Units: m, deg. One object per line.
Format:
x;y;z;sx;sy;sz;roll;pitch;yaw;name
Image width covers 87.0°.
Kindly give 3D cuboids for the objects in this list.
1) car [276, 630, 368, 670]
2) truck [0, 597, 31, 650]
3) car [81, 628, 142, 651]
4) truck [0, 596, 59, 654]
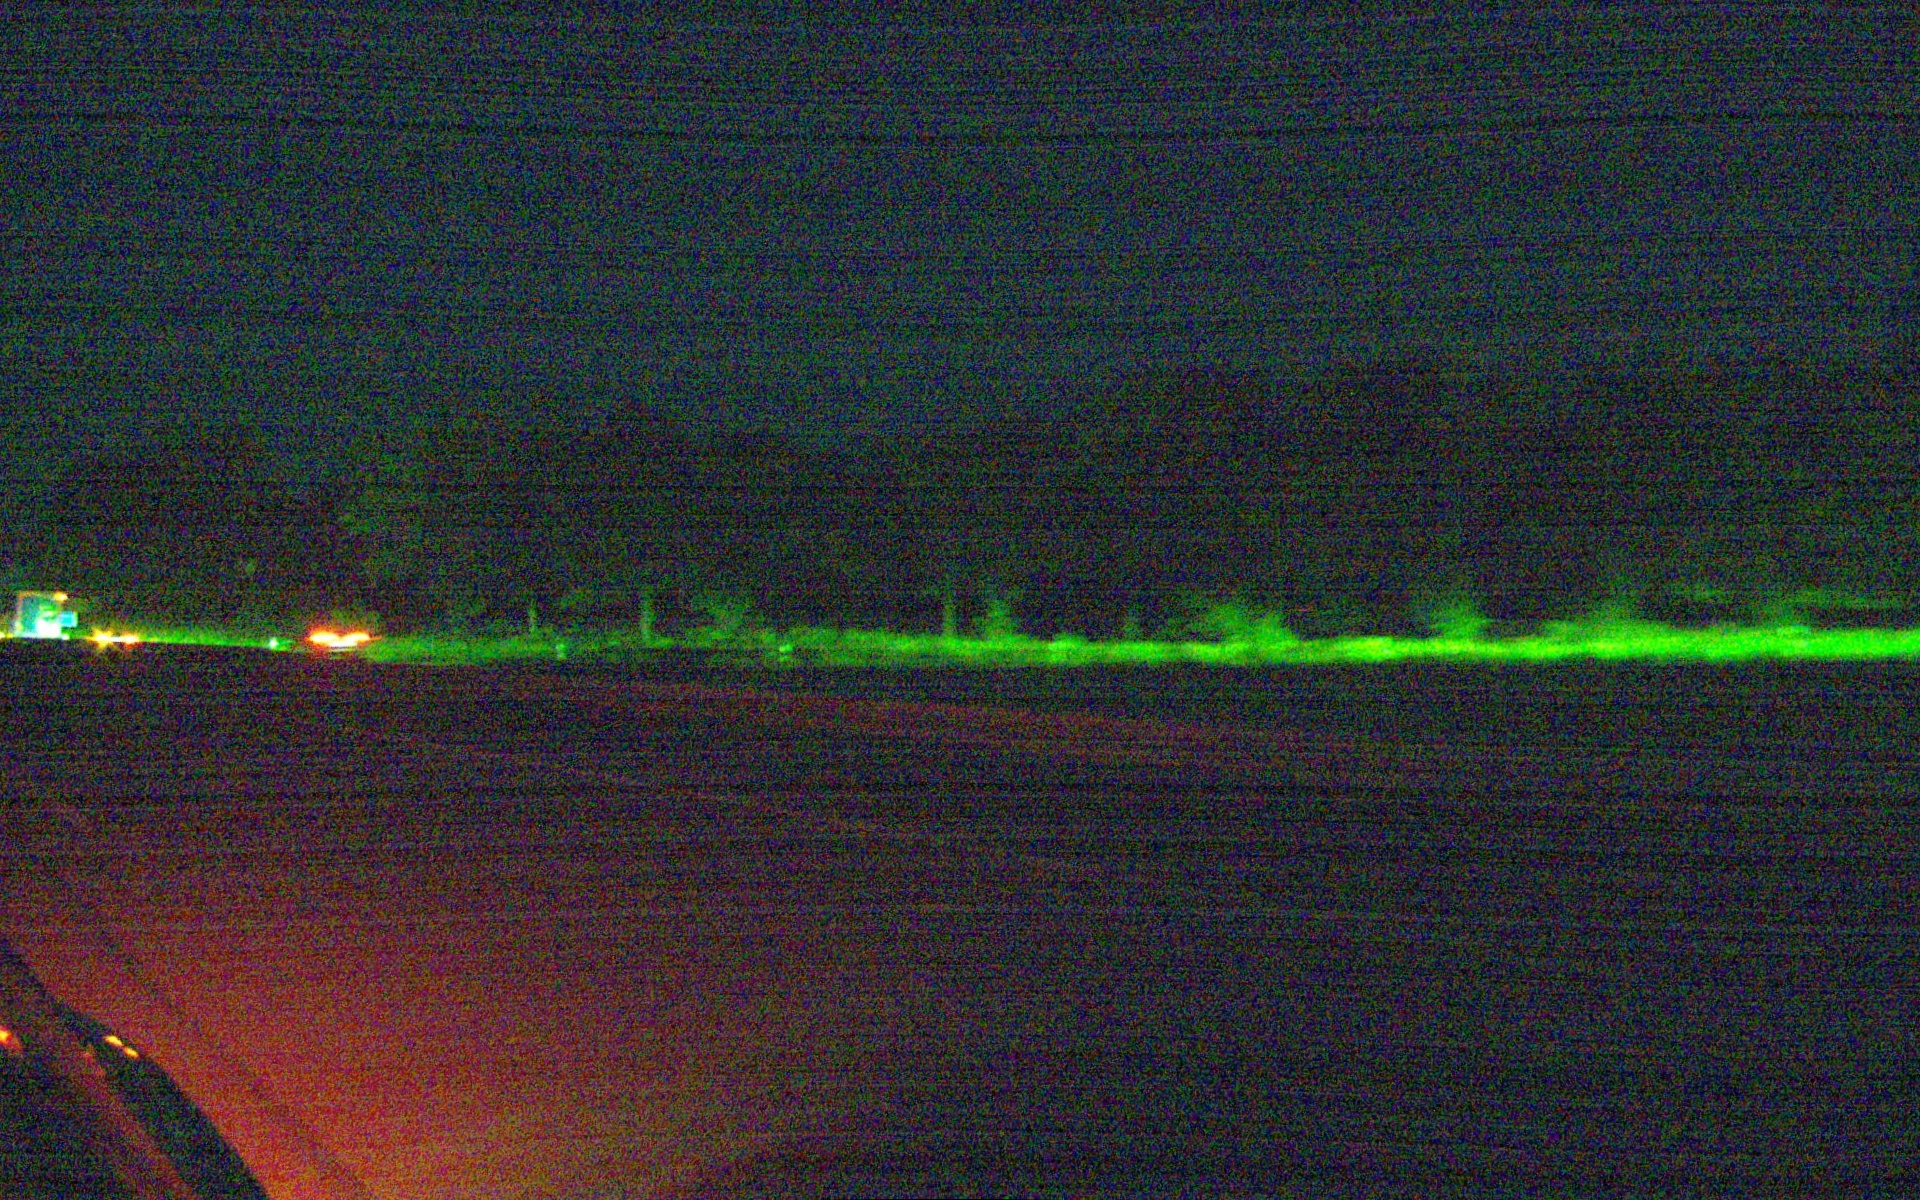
-26.079;1.998;41.331;4.292;1.569;1.973;-1;-2;41;car
-77.247;1.876;81.282;6.665;4.175;2.746;-1;-2;38;truck
-48.758;2.227;58.117;4.292;1.281;1.973;-1;-2;41;car
-72.429;1.921;77.482;13.890;4.159;2.719;-1;-2;38;truck
